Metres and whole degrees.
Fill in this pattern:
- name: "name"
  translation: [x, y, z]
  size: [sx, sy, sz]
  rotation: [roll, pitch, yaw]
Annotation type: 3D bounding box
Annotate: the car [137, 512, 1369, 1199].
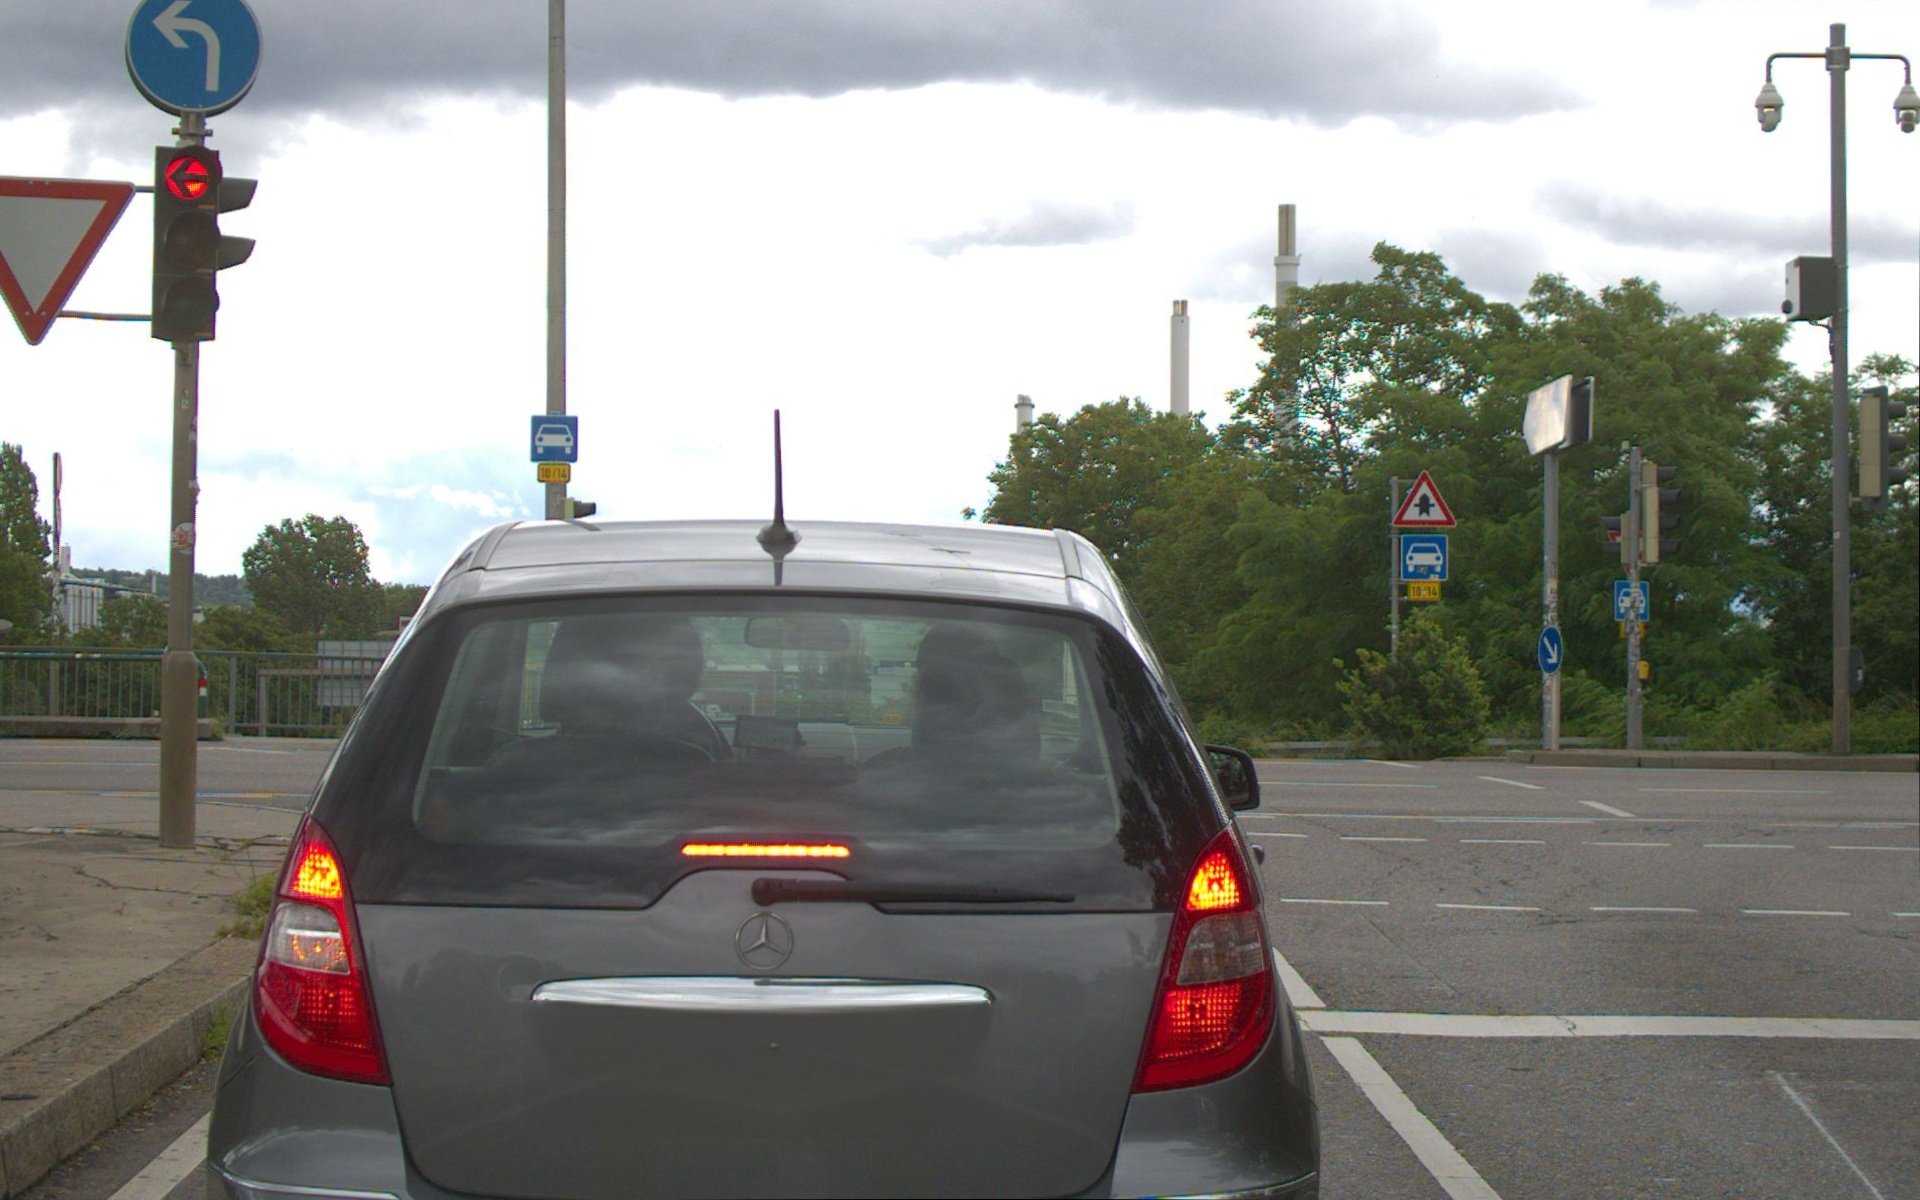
- name: "car"
  translation: [-0.312, 0.638, 6.659]
  size: [1.739, 1.538, 3.541]
  rotation: [1, 1, 0]
